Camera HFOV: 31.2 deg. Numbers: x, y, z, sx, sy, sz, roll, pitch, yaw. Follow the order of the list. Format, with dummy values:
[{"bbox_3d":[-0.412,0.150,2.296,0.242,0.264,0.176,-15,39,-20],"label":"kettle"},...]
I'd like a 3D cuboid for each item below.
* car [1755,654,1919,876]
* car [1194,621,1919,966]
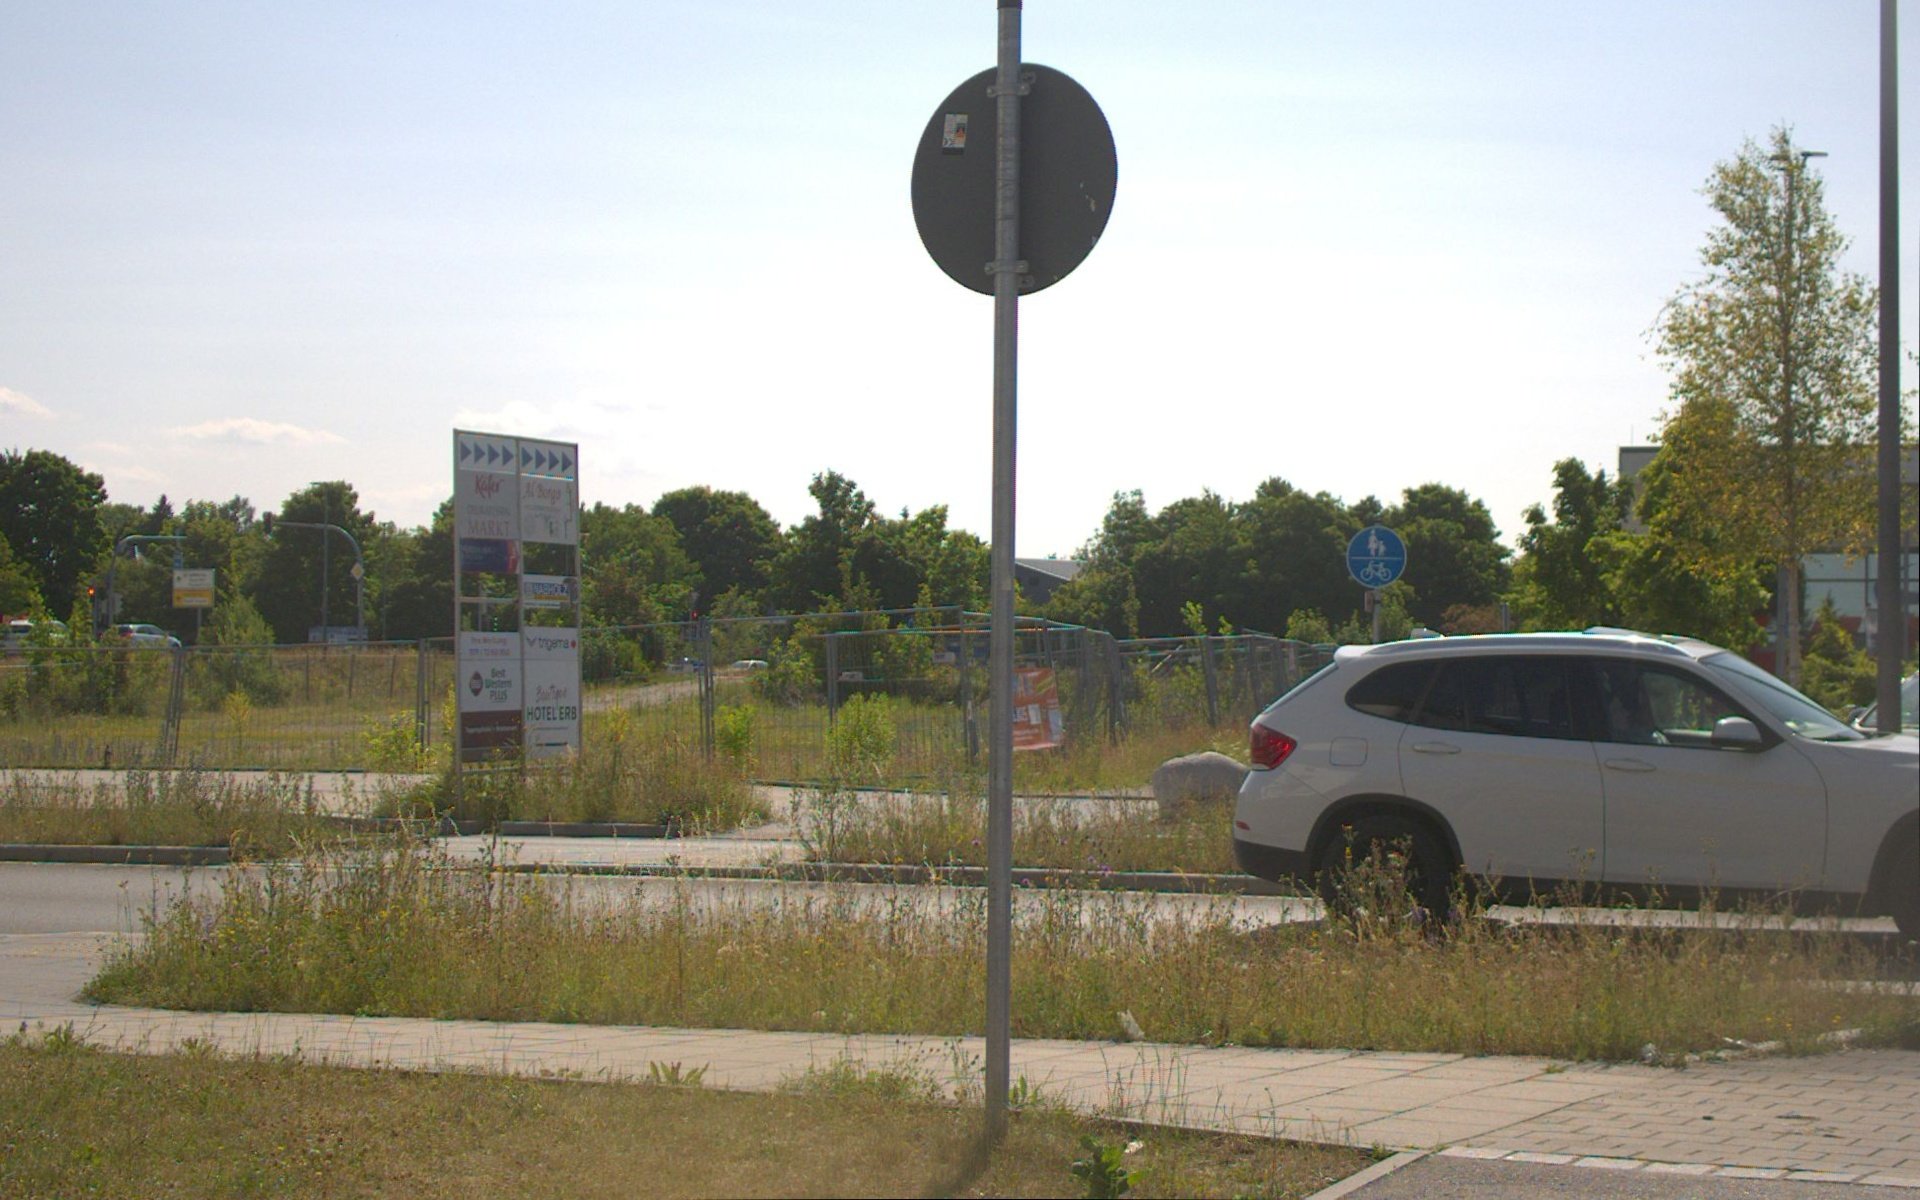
[{"bbox_3d":[7.811,1.209,25.504,1.998,1.512,4.186,0,-2,41],"label":"car"},{"bbox_3d":[3.629,0.938,17.296,4.560,1.546,1.739,1,-1,20],"label":"car"}]
